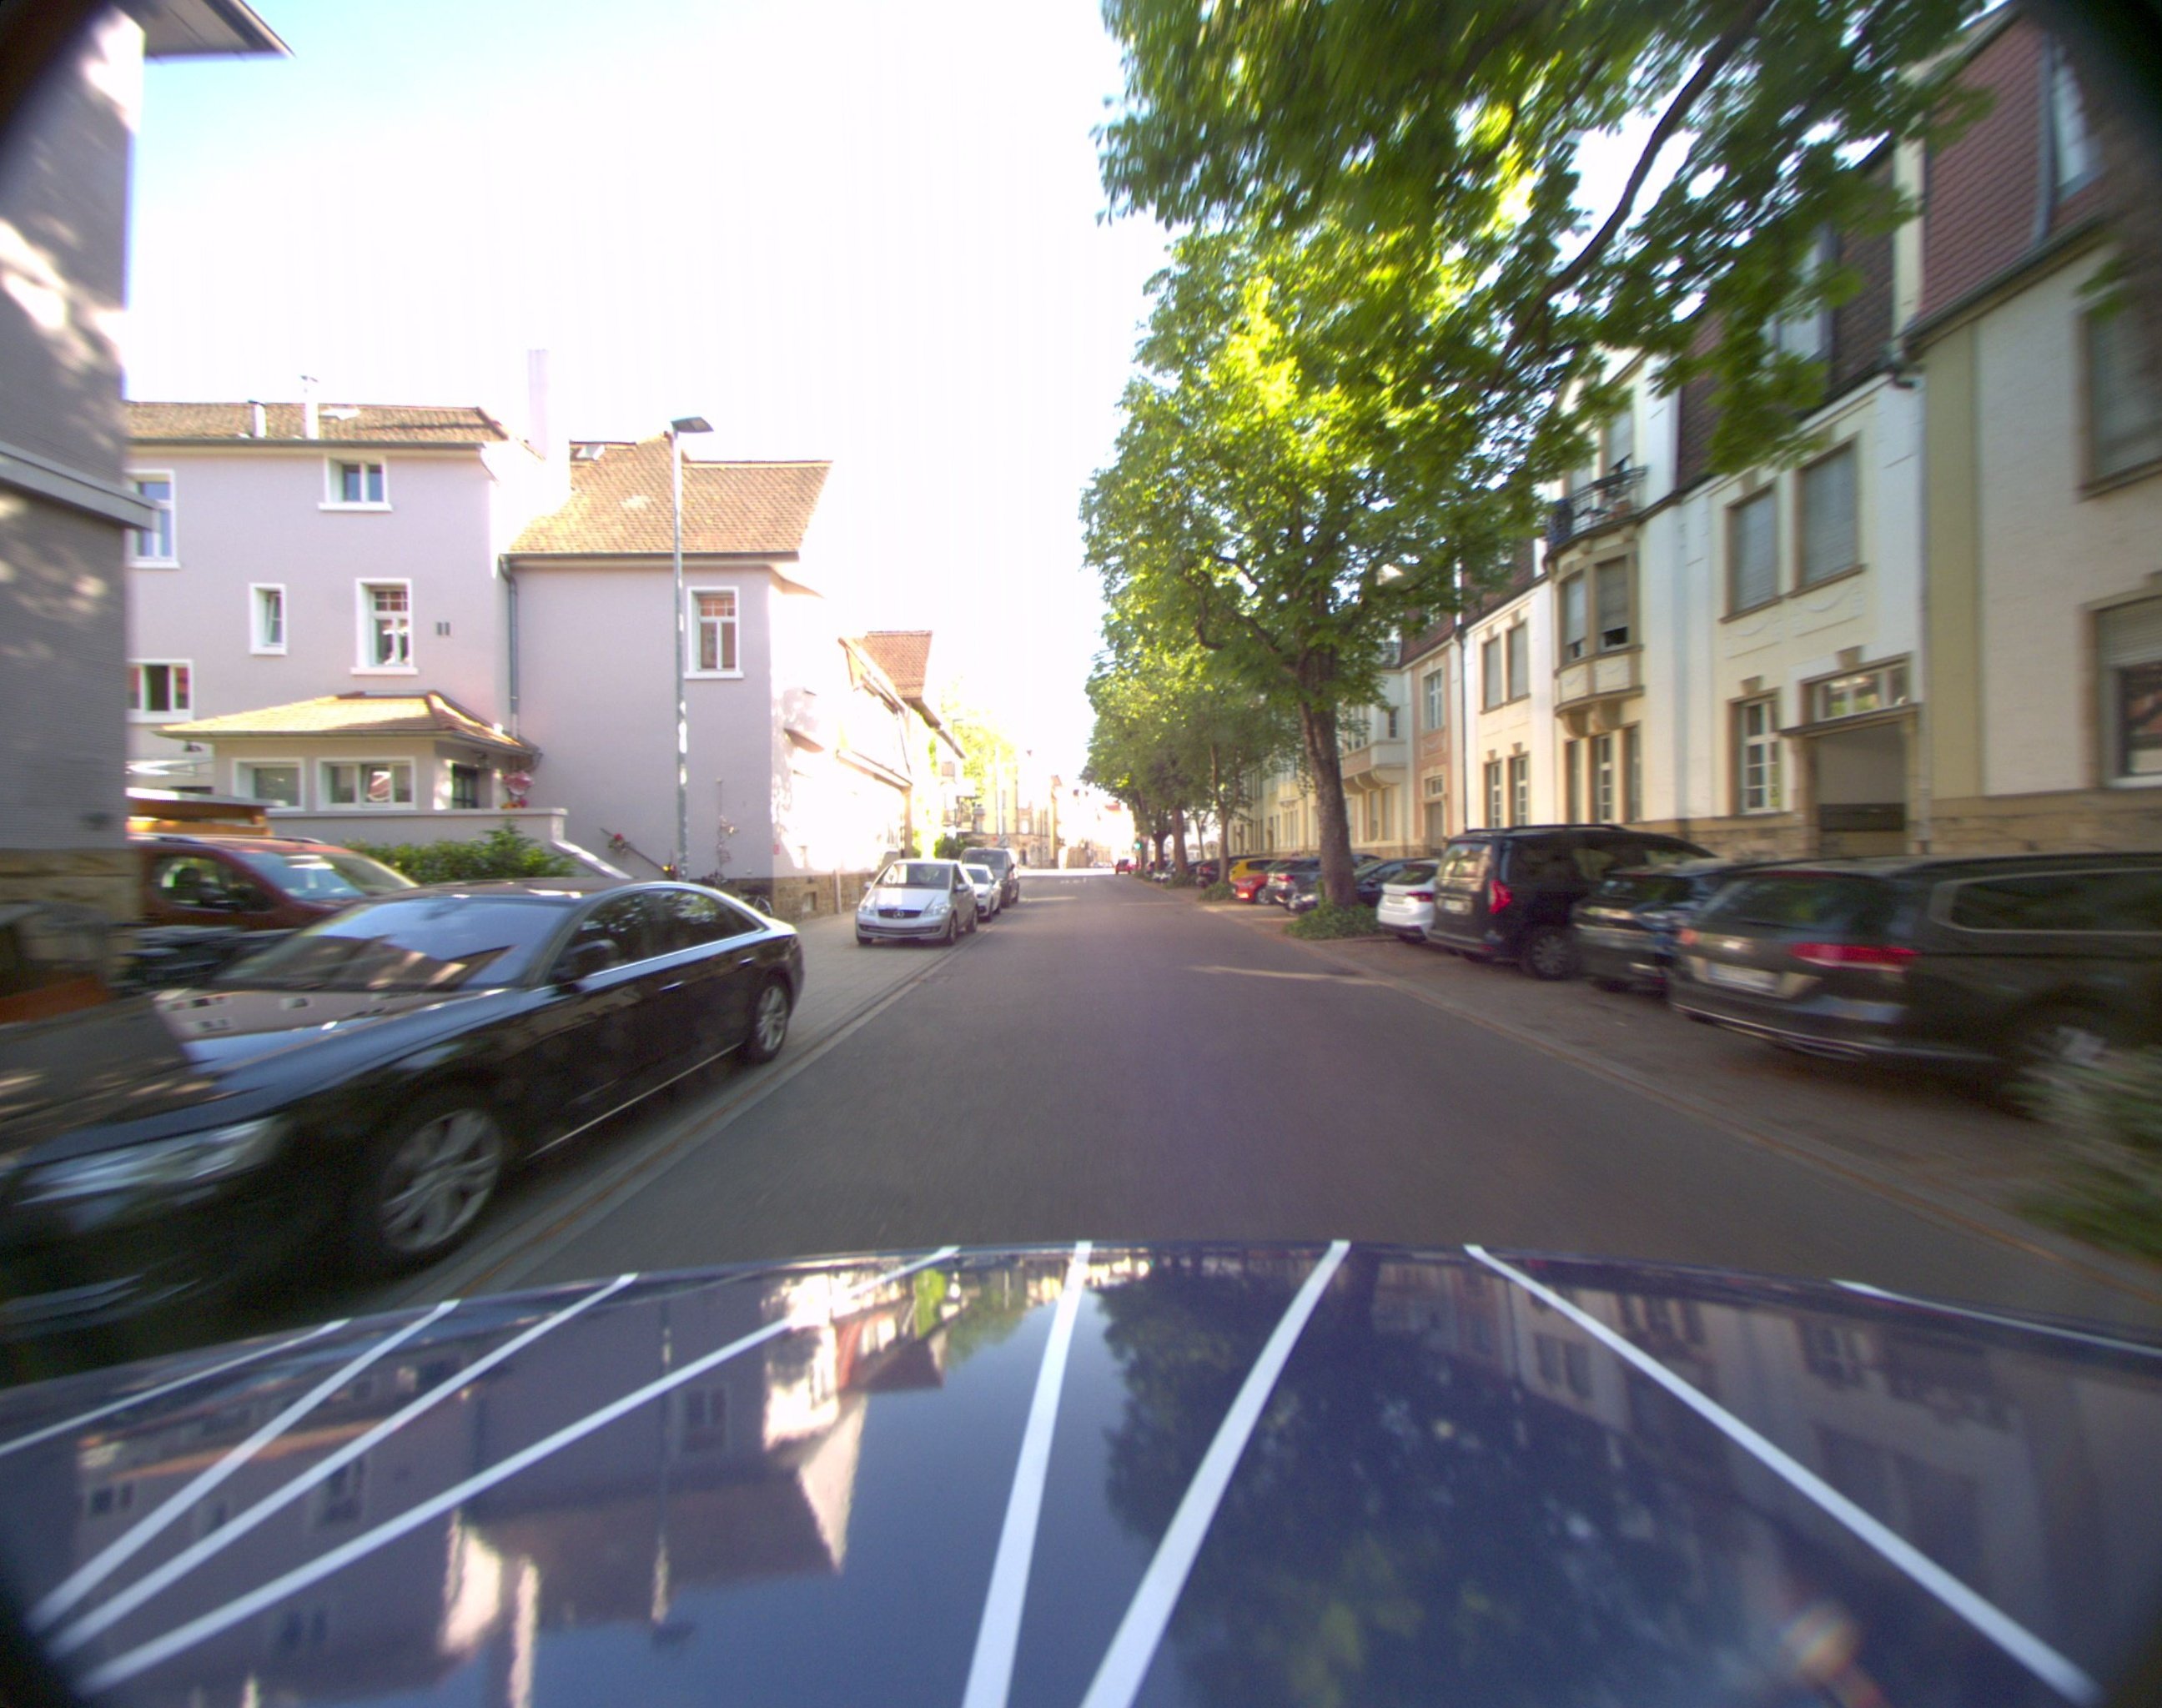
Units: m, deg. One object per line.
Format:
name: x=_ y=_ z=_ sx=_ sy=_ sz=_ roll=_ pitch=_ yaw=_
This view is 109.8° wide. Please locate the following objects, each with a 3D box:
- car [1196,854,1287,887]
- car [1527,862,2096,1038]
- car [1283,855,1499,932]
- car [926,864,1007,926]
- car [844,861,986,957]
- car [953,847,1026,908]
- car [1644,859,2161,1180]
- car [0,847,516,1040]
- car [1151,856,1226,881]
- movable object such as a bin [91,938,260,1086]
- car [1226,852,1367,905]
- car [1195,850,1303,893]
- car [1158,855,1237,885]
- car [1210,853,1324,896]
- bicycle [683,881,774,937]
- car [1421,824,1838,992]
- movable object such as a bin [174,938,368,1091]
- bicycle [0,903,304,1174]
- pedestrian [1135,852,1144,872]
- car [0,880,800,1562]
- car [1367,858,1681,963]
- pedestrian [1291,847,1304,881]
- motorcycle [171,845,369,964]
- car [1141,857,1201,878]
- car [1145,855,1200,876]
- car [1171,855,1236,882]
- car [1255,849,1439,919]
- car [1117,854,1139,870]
car: x=7.526 y=0.741 z=35.934 sx=3.996 sy=1.499 sz=1.722 roll=0 pitch=1 yaw=2
car: x=6.969 y=0.847 z=7.579 sx=3.990 sy=1.429 sz=1.828 roll=-1 pitch=1 yaw=-2
car: x=6.516 y=0.814 z=16.366 sx=3.910 sy=1.438 sz=1.860 roll=-2 pitch=0 yaw=5
car: x=-3.018 y=1.022 z=20.754 sx=1.683 sy=1.449 sz=4.437 roll=0 pitch=0 yaw=-2
car: x=-3.115 y=0.961 z=15.105 sx=1.793 sy=1.591 sz=4.000 roll=2 pitch=0 yaw=1
car: x=-3.086 y=0.765 z=26.621 sx=1.869 sy=1.905 sz=4.782 roll=1 pitch=0 yaw=1
car: x=6.493 y=0.825 z=4.761 sx=4.544 sy=1.494 sz=1.891 roll=-1 pitch=1 yaw=-1
car: x=-8.770 y=0.848 z=8.094 sx=4.149 sy=1.832 sz=1.765 roll=0 pitch=1 yaw=0
car: x=6.426 y=0.853 z=45.712 sx=4.222 sy=1.341 sz=1.703 roll=-1 pitch=1 yaw=0
movable object such as a bin: x=-7.048 y=1.206 z=5.942 sx=0.570 sy=1.033 sz=0.618 roll=0 pitch=0 yaw=-2
car: x=6.821 y=0.756 z=24.331 sx=3.997 sy=1.506 sz=1.747 roll=-1 pitch=1 yaw=0
car: x=6.781 y=0.697 z=31.026 sx=3.996 sy=1.557 sz=1.863 roll=-2 pitch=0 yaw=2
car: x=6.252 y=0.834 z=41.011 sx=3.996 sy=1.474 sz=1.785 roll=-2 pitch=0 yaw=2
car: x=6.905 y=0.739 z=28.506 sx=3.799 sy=1.453 sz=1.863 roll=-2 pitch=0 yaw=2
bicycle: x=-7.164 y=1.109 z=15.458 sx=1.640 sy=1.094 sz=0.395 roll=-1 pitch=1 yaw=-2
car: x=6.721 y=0.614 z=9.644 sx=3.990 sy=1.845 sz=1.828 roll=-1 pitch=1 yaw=-1
movable object such as a bin: x=-6.368 y=1.231 z=6.027 sx=0.649 sy=1.033 sz=0.828 roll=0 pitch=0 yaw=-2
bicycle: x=-6.218 y=1.018 z=4.424 sx=1.085 sy=1.330 sz=2.250 roll=0 pitch=0 yaw=0
pedestrian: x=4.940 y=0.706 z=64.137 sx=0.695 sy=1.672 sz=0.681 roll=-1 pitch=1 yaw=11
car: x=-3.383 y=0.980 z=4.176 sx=1.859 sy=1.484 sz=4.608 roll=1 pitch=0 yaw=1
car: x=6.863 y=0.828 z=12.042 sx=3.998 sy=1.439 sz=1.741 roll=-1 pitch=1 yaw=-3
pedestrian: x=10.510 y=0.474 z=36.878 sx=0.460 sy=1.648 sz=0.895 roll=-1 pitch=1 yaw=9
motorcycle: x=-12.006 y=0.680 z=11.400 sx=0.789 sy=1.275 sz=2.162 roll=-3 pitch=11 yaw=-12
car: x=6.256 y=0.948 z=53.225 sx=3.894 sy=1.407 sz=1.614 roll=-1 pitch=0 yaw=-6
car: x=6.755 y=0.842 z=56.578 sx=3.892 sy=1.467 sz=1.615 roll=0 pitch=1 yaw=0
car: x=6.957 y=0.823 z=43.450 sx=3.441 sy=1.444 sz=1.703 roll=-1 pitch=1 yaw=3
car: x=6.675 y=0.729 z=19.352 sx=3.997 sy=1.583 sz=1.859 roll=-2 pitch=0 yaw=0
car: x=4.553 y=0.761 z=72.892 sx=1.644 sy=1.499 sz=3.705 roll=0 pitch=0 yaw=11
